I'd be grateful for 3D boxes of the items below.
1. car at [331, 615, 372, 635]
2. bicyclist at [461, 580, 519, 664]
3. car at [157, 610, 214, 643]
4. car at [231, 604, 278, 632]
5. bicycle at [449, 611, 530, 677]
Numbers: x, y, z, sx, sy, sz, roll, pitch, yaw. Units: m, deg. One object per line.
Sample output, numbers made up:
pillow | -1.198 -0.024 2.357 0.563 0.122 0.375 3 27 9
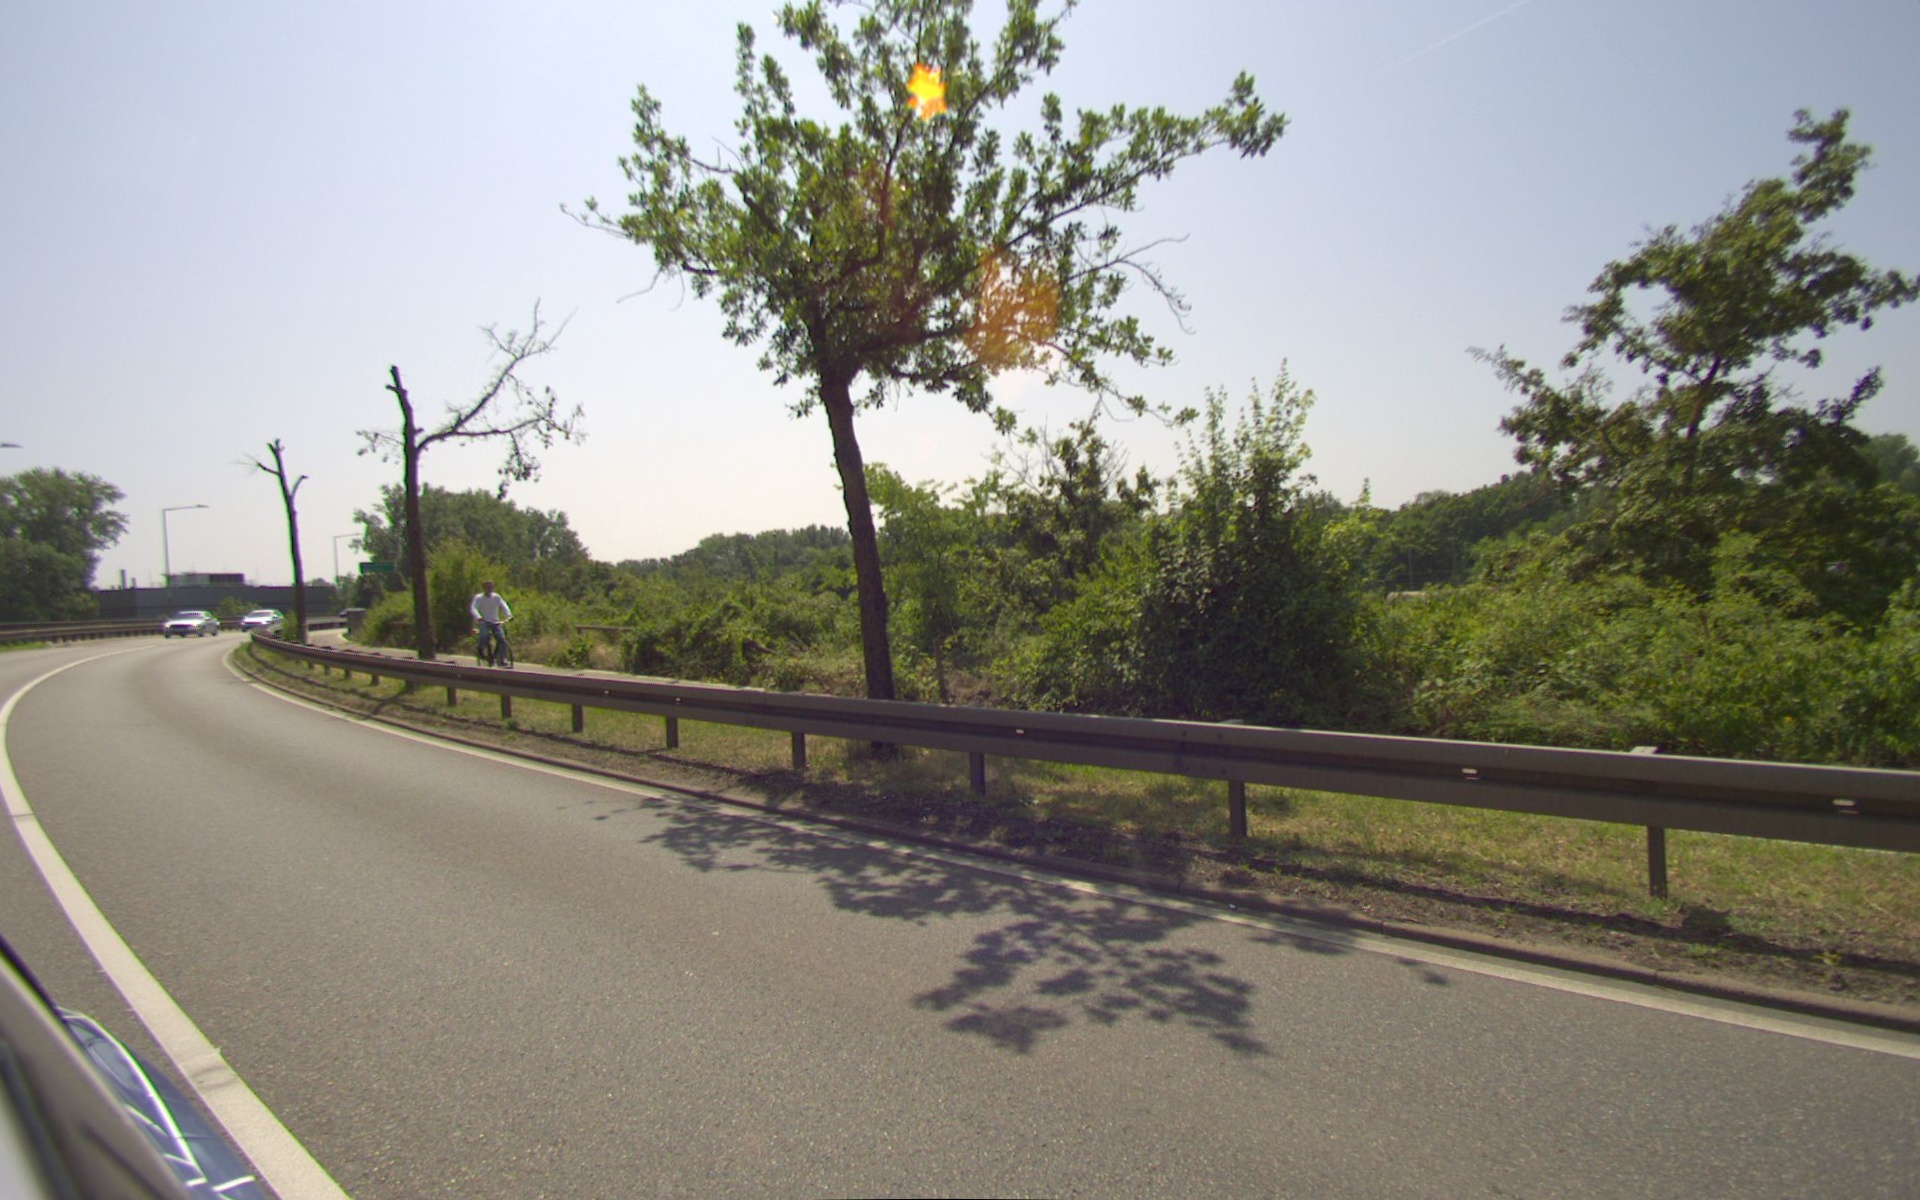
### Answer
car | -46.448 1.891 77.326 1.778 1.427 4.372 -1 0 -20
bicyclist | -8.525 0.395 18.359 0.721 1.477 0.825 1 -1 -44
car | -42.373 1.428 55.448 1.734 1.510 4.247 -1 2 -27
car | -48.469 1.208 69.602 1.769 1.796 4.308 -1 1 -23
bicycle | -8.567 0.765 18.395 0.725 1.125 2.048 1 -1 -43
